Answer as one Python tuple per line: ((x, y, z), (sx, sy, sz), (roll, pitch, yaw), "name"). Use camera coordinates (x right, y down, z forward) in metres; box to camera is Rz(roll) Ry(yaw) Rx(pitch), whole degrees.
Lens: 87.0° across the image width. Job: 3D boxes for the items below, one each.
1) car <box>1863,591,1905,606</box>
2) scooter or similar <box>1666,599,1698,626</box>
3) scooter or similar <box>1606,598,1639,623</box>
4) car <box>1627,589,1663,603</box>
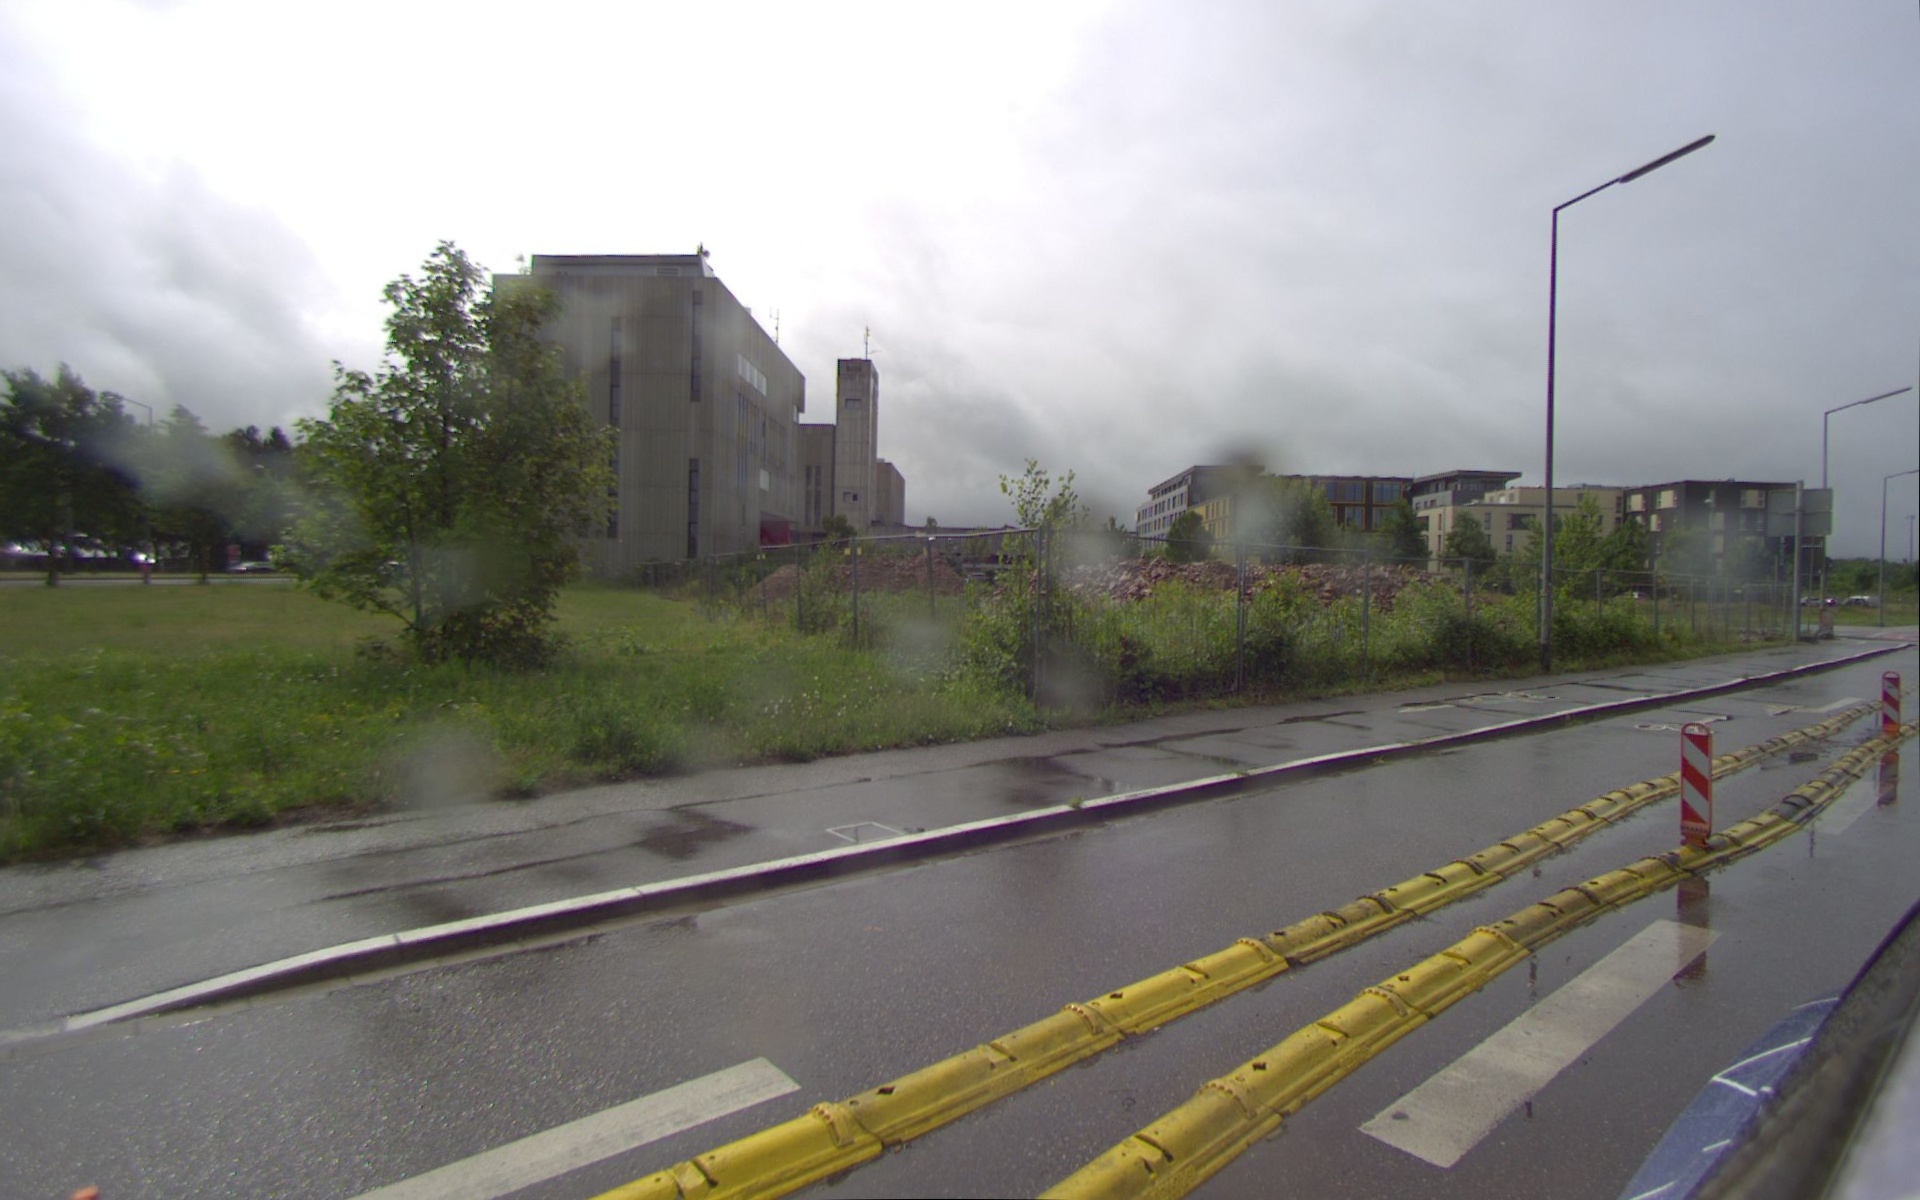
((131.467, -0.269, 144.013), (3.930, 2.039, 1.997), (1, 0, 6), "car")
((33.388, 0.567, 46.825), (0.473, 1.164, 1.197), (1, 1, -7), "scooter or similar")
((32.426, 0.502, 49.528), (0.731, 1.164, 1.197), (1, 1, -8), "scooter or similar")
((82.397, -0.442, 121.739), (3.591, 1.603, 1.652), (1, 1, -17), "car")
